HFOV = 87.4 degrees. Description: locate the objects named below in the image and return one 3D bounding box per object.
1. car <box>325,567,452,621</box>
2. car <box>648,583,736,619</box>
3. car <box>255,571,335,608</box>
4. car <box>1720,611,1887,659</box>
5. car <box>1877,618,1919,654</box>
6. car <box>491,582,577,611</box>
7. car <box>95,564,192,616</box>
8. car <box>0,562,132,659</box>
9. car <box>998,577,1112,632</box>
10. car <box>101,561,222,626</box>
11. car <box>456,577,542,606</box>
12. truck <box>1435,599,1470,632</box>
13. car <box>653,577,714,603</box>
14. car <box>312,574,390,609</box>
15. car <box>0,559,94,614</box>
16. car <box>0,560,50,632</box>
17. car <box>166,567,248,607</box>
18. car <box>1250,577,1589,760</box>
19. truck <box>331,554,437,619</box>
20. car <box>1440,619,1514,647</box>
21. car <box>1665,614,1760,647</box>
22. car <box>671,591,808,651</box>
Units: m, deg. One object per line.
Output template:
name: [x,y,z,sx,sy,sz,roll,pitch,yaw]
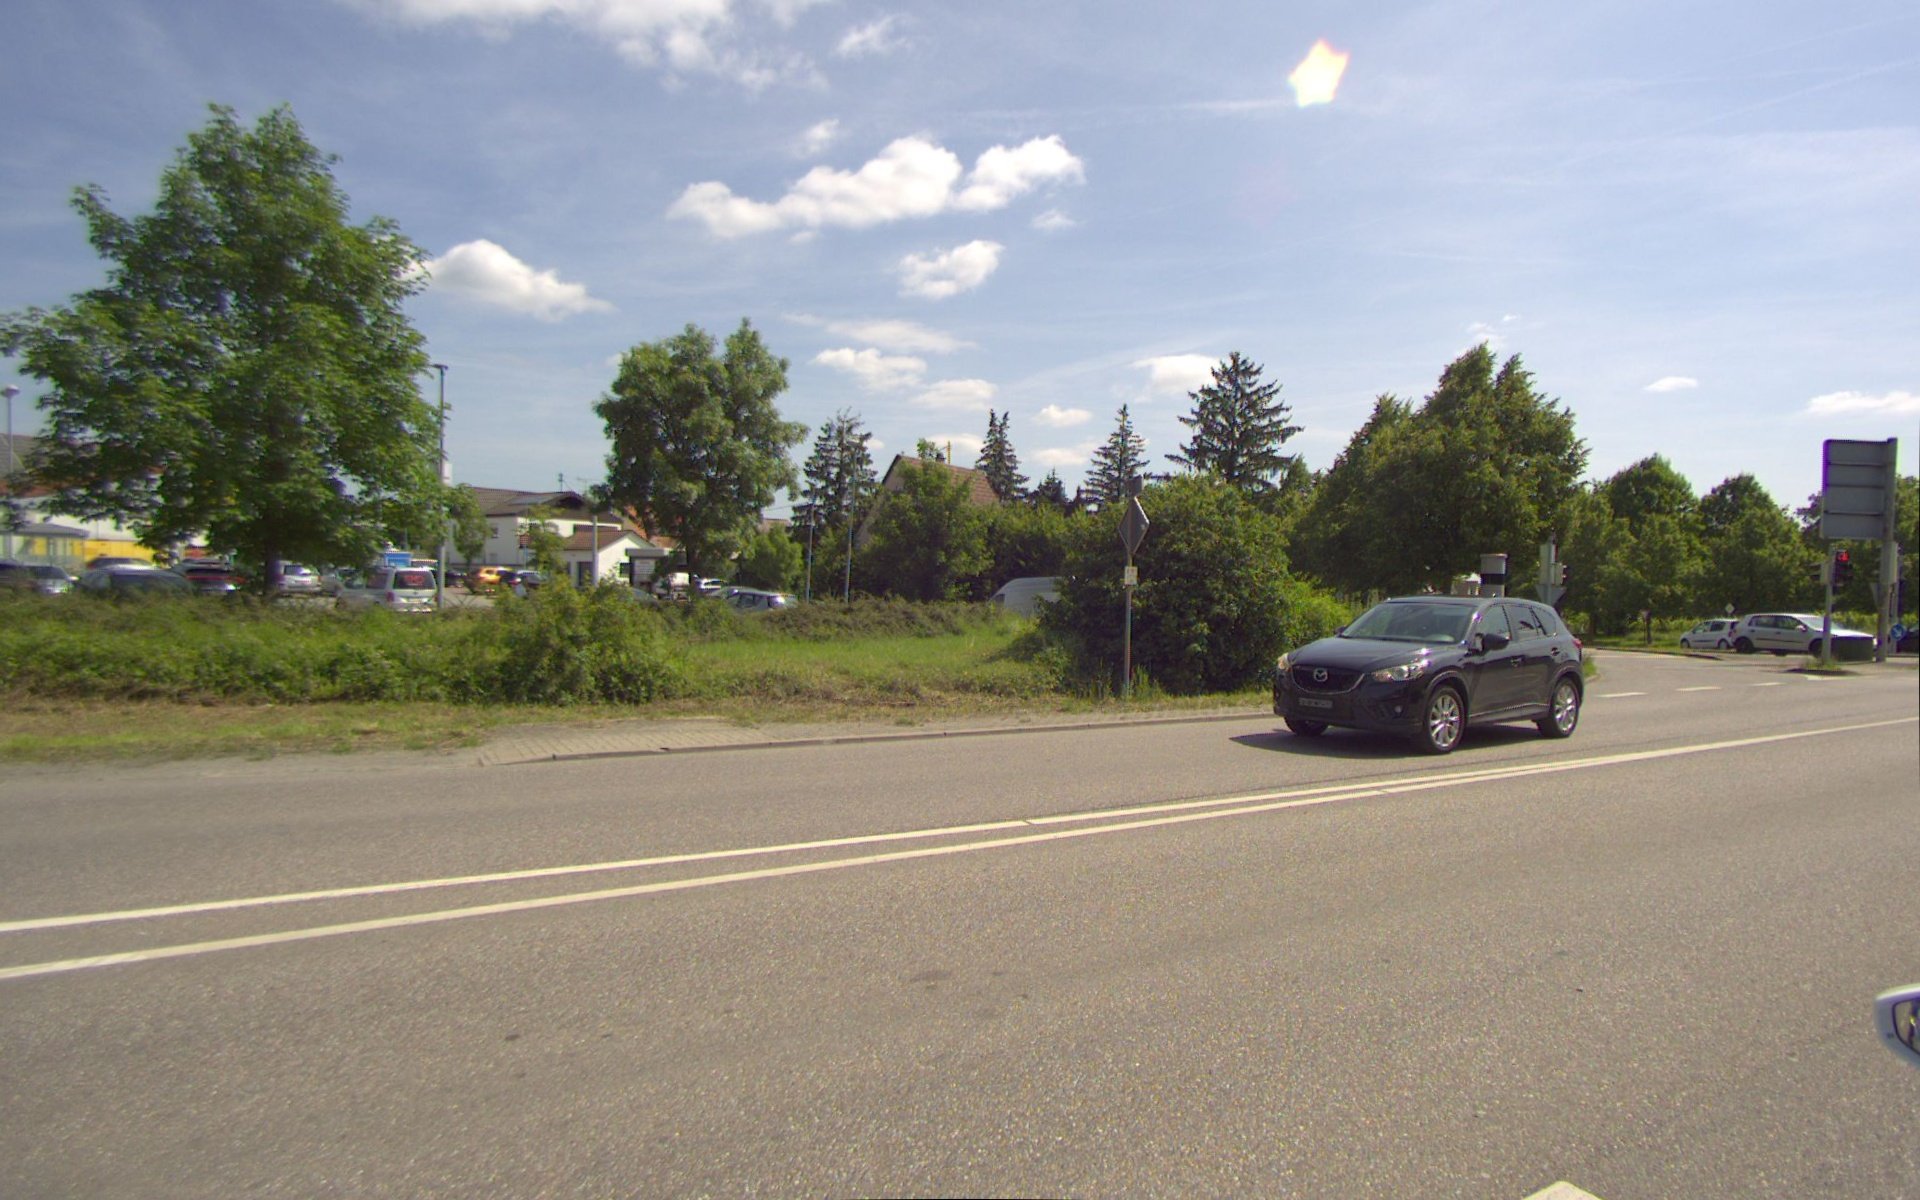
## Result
car: [-19.303,-0.204,33.890,4.353,1.717,1.994,1,0,34]
car: [-13.571,0.073,51.020,1.883,1.662,3.984,2,0,38]
car: [-30.275,-0.493,45.677,4.193,1.562,1.871,2,0,40]
car: [28.218,1.136,33.771,1.764,1.436,4.037,0,1,-13]
car: [37.330,1.397,37.776,1.708,1.322,4.280,1,0,-2]
car: [-24.538,-0.182,57.972,1.849,1.562,4.243,2,0,37]
car: [-26.496,-0.340,32.556,3.941,1.549,1.770,2,0,41]
car: [-17.542,0.168,19.459,3.941,1.679,1.686,2,0,42]
car: [4.083,0.161,43.602,4.524,2.209,1.992,2,1,37]
car: [-22.833,-0.200,28.680,3.939,1.711,1.918,2,0,40]
car: [-27.117,-0.470,59.227,1.849,1.562,4.243,2,0,37]
truck: [61.280,1.941,124.890,2.897,3.848,7.904,2,0,34]
car: [-20.165,-0.707,73.414,1.866,1.782,3.988,2,0,35]
car: [-28.998,-0.415,47.821,4.193,1.562,1.871,2,0,40]
car: [-28.212,-0.413,30.742,3.936,1.549,1.772,2,0,37]
car: [-24.789,-0.167,25.560,3.939,1.697,1.903,3,1,40]
car: [-32.386,-0.567,43.166,4.193,1.562,1.871,2,0,40]
car: [5.440,0.692,11.725,4.071,1.773,1.853,1,0,-36]
truck: [-22.326,-0.522,38.919,3.932,2.397,1.994,2,0,34]
car: [26.914,1.700,52.443,1.707,1.322,4.281,1,0,1]
car: [36.712,1.468,49.124,1.644,1.375,3.858,-2,1,-3]
car: [-7.066,0.644,32.198,3.928,1.751,1.997,2,0,29]
